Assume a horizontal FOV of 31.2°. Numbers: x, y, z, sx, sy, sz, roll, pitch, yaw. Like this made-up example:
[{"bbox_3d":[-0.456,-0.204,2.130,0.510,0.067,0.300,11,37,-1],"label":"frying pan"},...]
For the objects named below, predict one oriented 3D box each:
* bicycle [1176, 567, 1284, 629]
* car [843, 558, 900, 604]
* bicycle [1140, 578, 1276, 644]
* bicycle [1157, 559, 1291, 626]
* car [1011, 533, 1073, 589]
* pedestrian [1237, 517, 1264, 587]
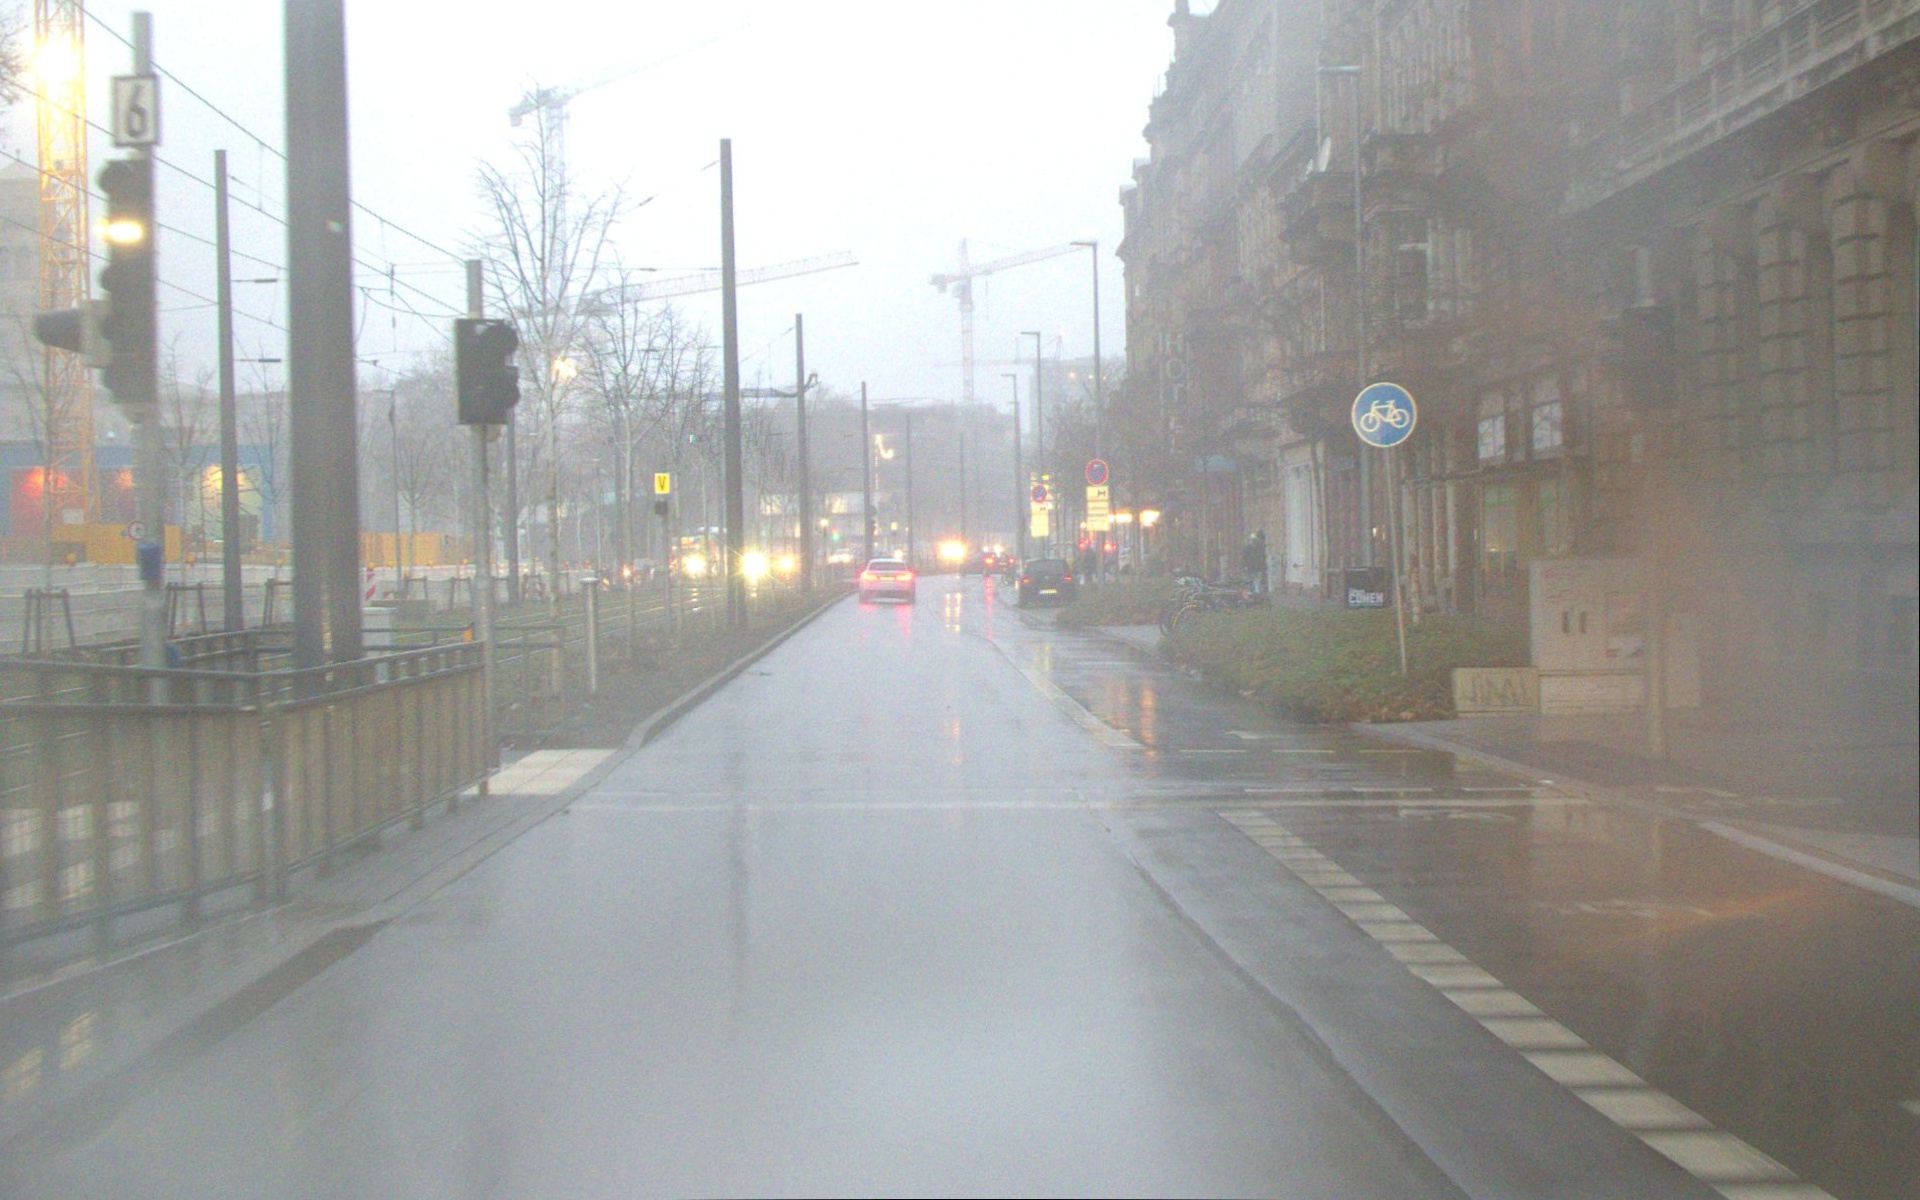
[{"bbox_3d":[4.806,-0.034,61.204,1.851,1.054,0.471,-1,1,-3],"label":"bicycle"},{"bbox_3d":[-2.961,-0.659,115.409,1.784,1.462,3.148,-1,1,1],"label":"car"},{"bbox_3d":[4.246,0.182,58.875,2.248,1.053,0.526,-1,1,-3],"label":"bicycle"},{"bbox_3d":[4.407,-0.122,57.355,2.146,1.053,0.526,-2,1,-6],"label":"bicycle"},{"bbox_3d":[2.490,-1.191,103.849,1.799,1.598,3.770,-1,1,1],"label":"car"},{"bbox_3d":[7.462,-1.232,88.322,0.603,1.779,0.528,-1,1,-1],"label":"pedestrian"}]
